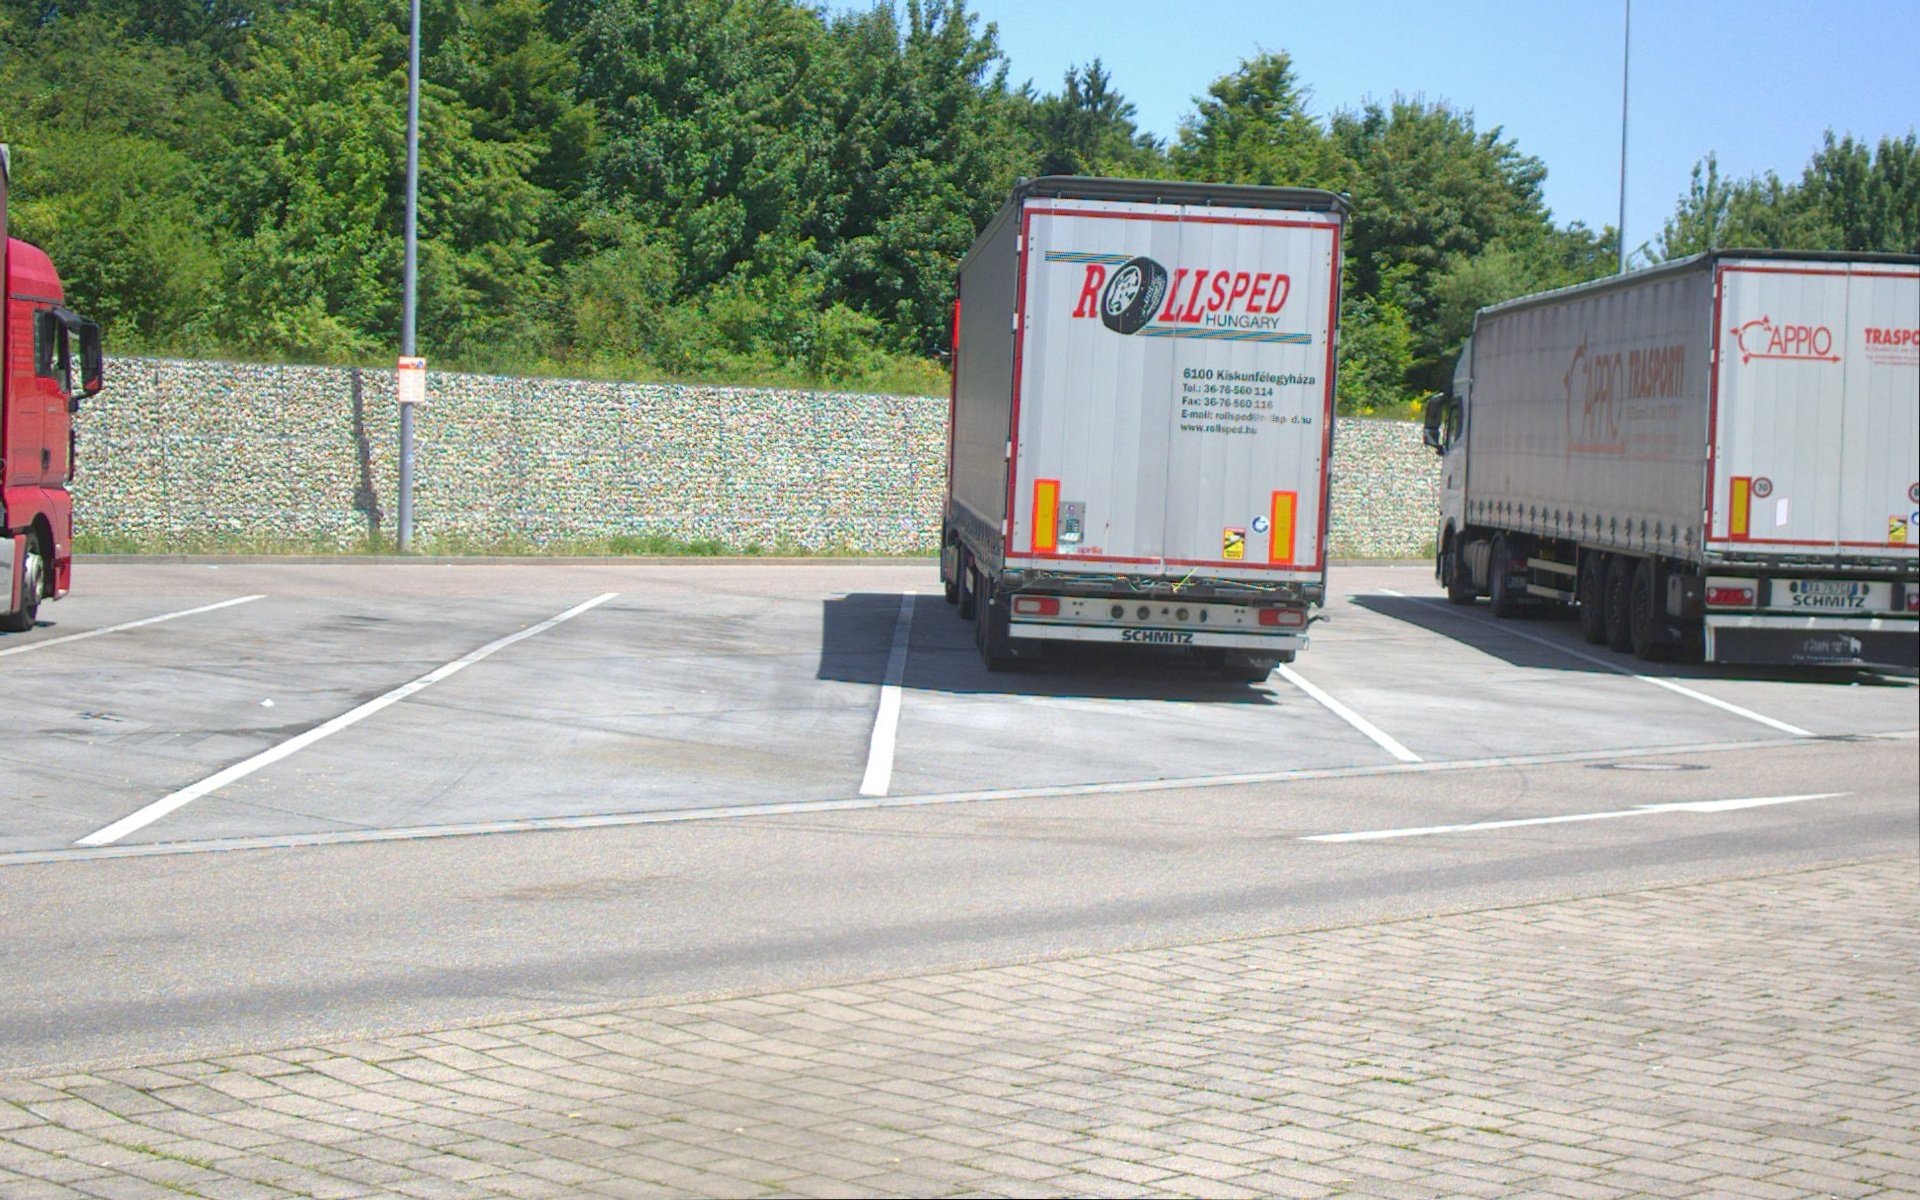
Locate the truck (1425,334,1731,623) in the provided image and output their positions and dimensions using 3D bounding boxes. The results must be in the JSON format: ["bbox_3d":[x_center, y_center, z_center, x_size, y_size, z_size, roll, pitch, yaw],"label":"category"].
[{"bbox_3d":[8.058,-1.631,45.507,2.852,3.472,5.483,2,2,-1],"label":"truck"}]

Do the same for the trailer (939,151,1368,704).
[{"bbox_3d":[1.435,-1.627,33.203,2.906,4.118,13.725,2,3,-1],"label":"trailer"}]

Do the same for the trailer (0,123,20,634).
[{"bbox_3d":[-9.150,-1.492,21.306,2.906,4.118,13.725,2,3,-1],"label":"trailer"}]

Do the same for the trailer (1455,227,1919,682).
[{"bbox_3d":[8.152,-1.633,38.694,2.838,4.118,13.724,2,3,-1],"label":"trailer"}]

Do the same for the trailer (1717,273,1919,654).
[{"bbox_3d":[11.788,-1.536,39.447,2.838,4.118,13.724,2,3,-1],"label":"trailer"}]

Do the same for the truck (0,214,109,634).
[{"bbox_3d":[-9.240,-1.508,28.745,2.852,3.416,5.483,2,2,-1],"label":"truck"}]

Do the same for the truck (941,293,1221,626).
[{"bbox_3d":[1.286,-1.634,39.816,2.852,3.472,5.483,2,2,-1],"label":"truck"}]
